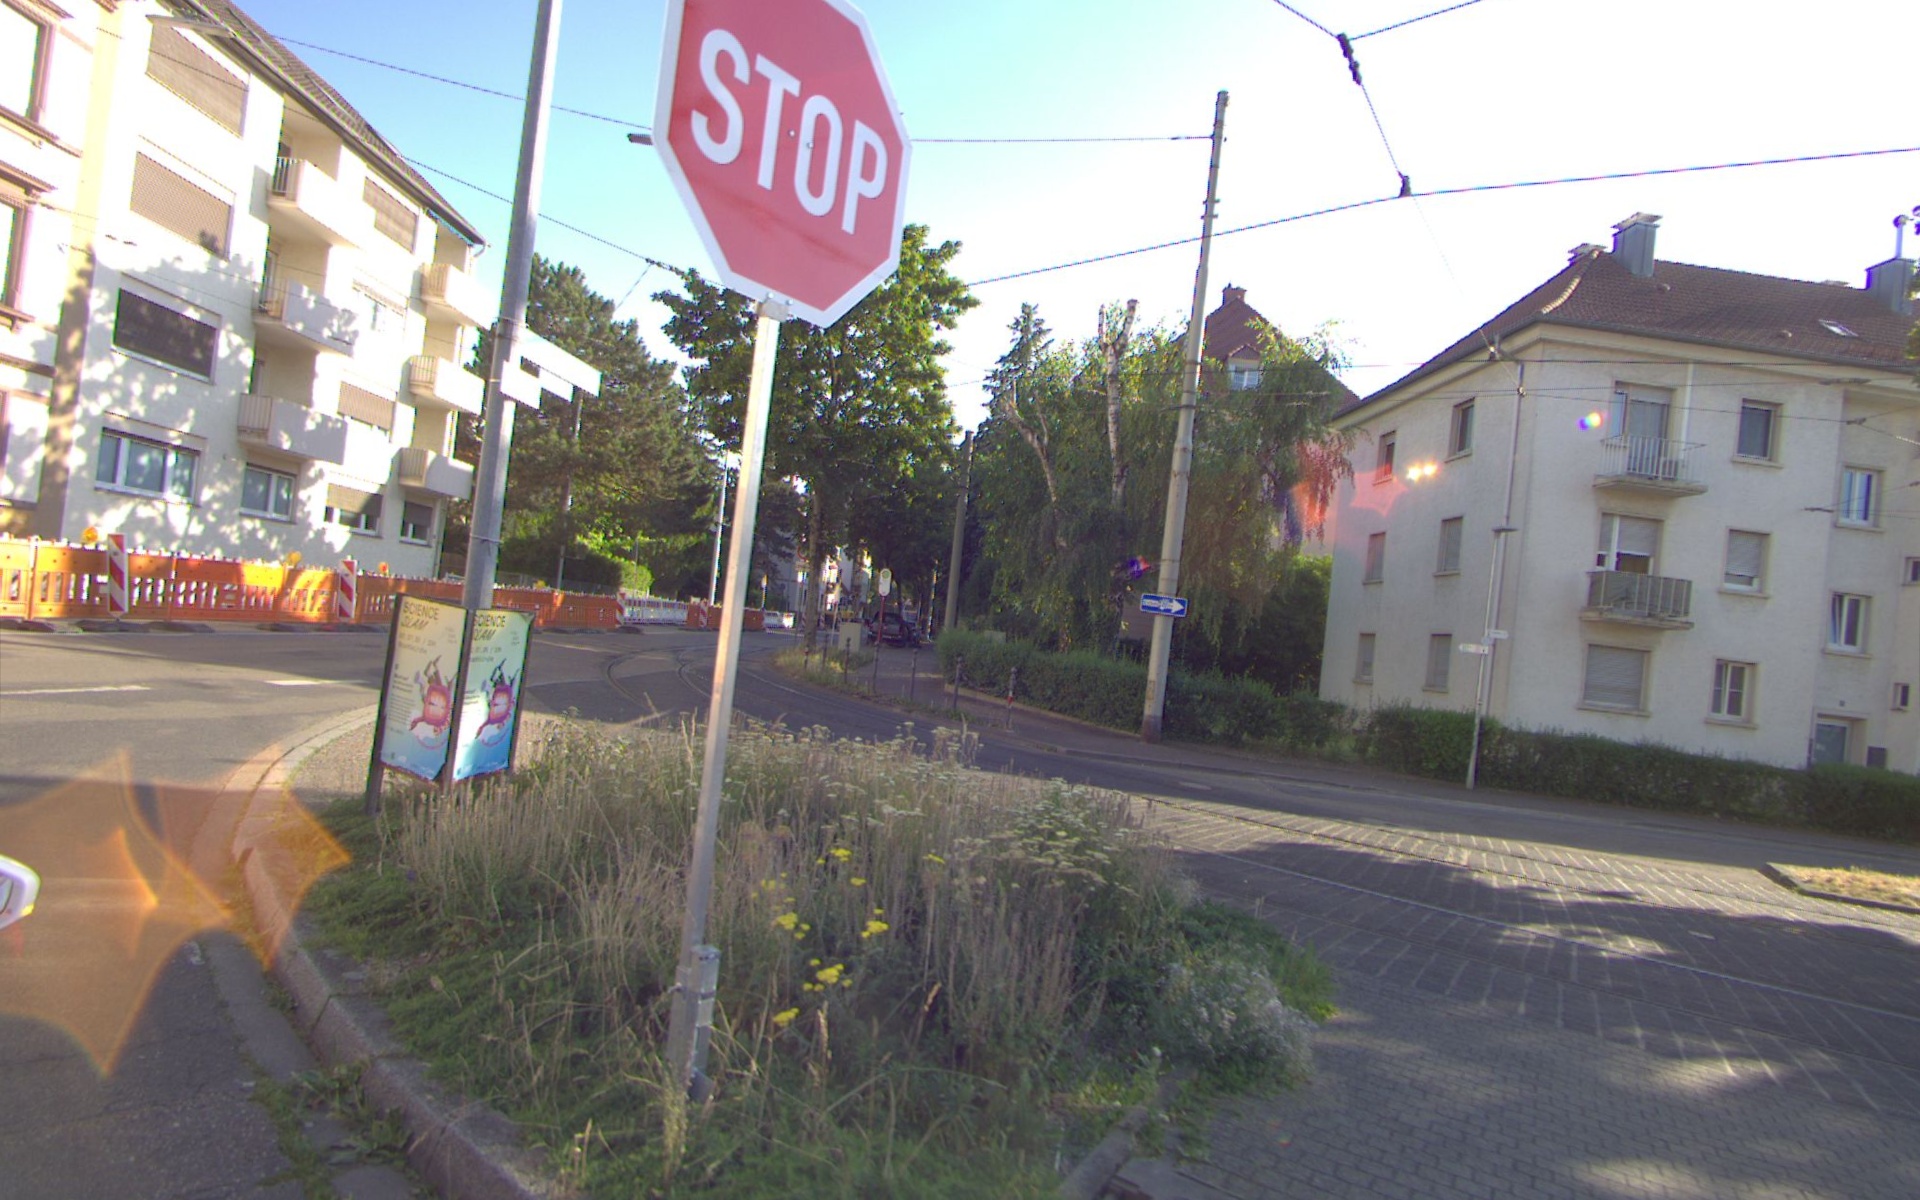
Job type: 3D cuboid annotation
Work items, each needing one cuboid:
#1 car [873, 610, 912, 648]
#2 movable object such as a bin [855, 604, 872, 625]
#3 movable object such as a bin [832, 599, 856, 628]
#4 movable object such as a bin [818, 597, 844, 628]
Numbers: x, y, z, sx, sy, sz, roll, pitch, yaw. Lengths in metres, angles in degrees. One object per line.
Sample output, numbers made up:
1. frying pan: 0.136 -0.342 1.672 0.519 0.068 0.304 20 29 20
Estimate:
1. car: -3.633 1.527 53.637 1.793 1.793 3.935 5 -1 -6
2. movable object such as a bin: -14.230 2.130 148.129 2.055 2.933 3.998 7 -1 -4
3. movable object such as a bin: -12.769 1.500 111.108 2.055 2.933 3.998 7 -1 -4
4. movable object such as a bin: -13.334 1.279 104.236 2.055 2.933 3.998 7 -1 -4
